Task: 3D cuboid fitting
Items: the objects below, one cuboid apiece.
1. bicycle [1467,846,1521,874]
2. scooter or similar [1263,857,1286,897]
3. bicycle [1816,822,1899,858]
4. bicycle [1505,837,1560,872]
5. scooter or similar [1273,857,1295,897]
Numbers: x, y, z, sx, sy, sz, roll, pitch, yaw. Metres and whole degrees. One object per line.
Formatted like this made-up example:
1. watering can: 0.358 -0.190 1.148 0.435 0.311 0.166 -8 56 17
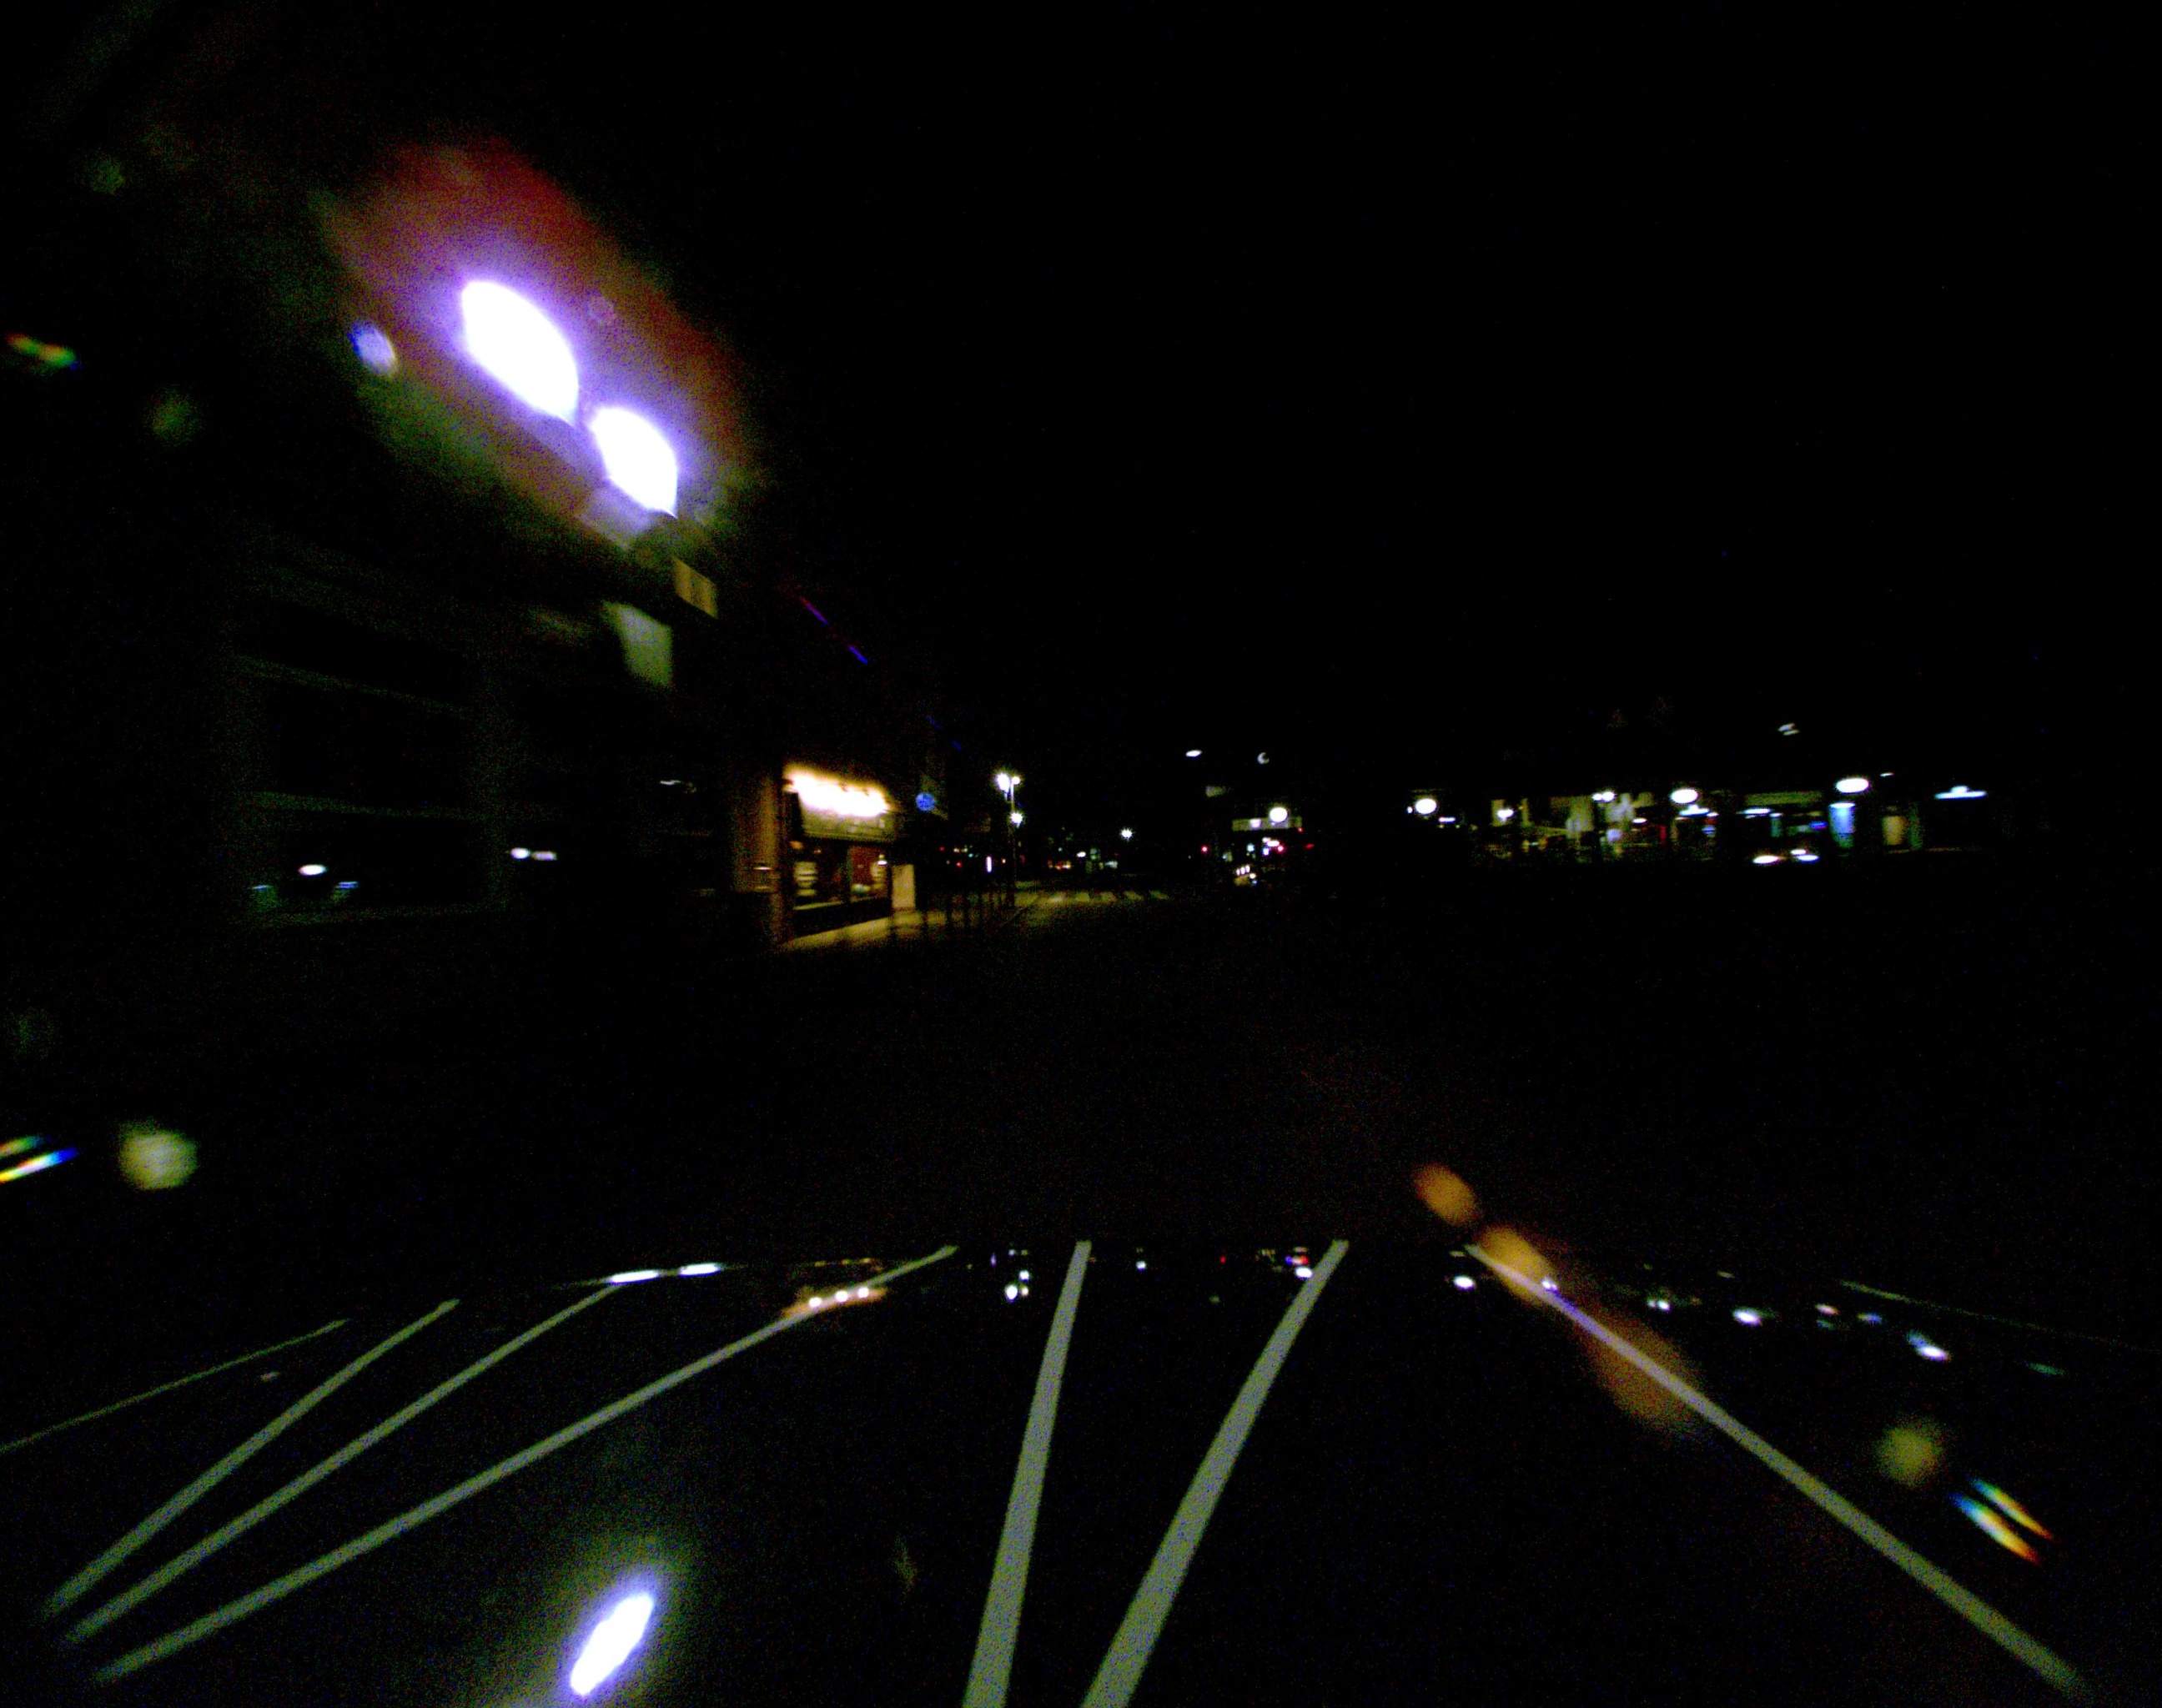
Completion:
1. bicycle: 17.054 0.222 31.449 0.861 1.081 2.482 -2 1 0
2. scooter or similar: 6.371 0.759 25.044 0.370 1.256 1.449 -4 -1 2
3. bicycle: 31.644 -0.566 31.027 0.775 1.356 2.510 -2 1 0
4. bicycle: 18.532 0.006 31.258 0.764 1.356 2.413 -2 1 0
5. scooter or similar: 6.675 0.747 25.042 0.318 1.280 1.449 -4 -1 2
